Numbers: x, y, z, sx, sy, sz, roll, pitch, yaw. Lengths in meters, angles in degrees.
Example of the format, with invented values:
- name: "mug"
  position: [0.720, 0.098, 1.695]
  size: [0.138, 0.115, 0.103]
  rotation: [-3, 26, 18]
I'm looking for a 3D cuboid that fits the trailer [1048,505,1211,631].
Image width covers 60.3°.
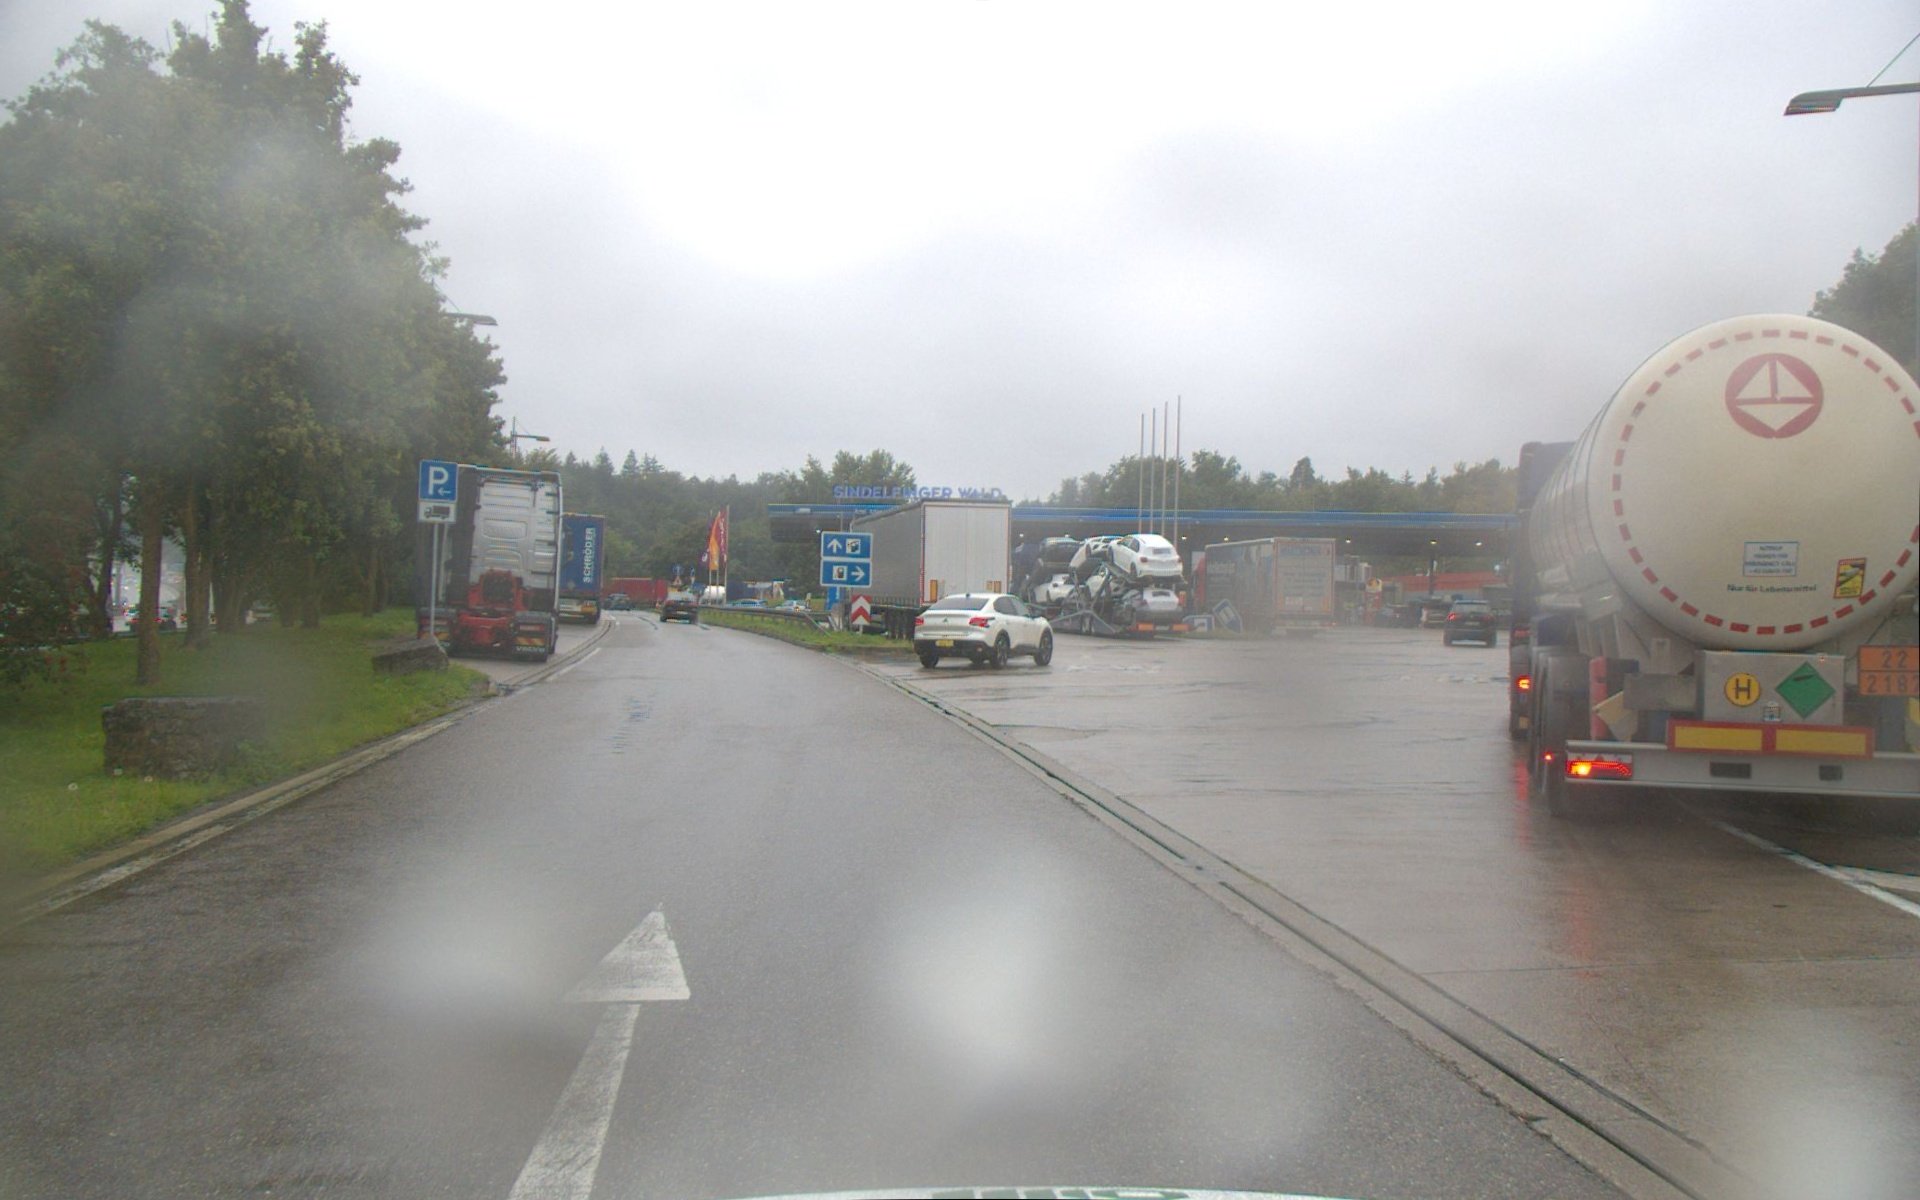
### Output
- name: "trailer"
  position: [6.231, -1.180, 63.426]
  size: [3.157, 4.262, 11.503]
  rotation: [2, 0, -10]

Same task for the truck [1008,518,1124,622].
- name: "truck"
  position: [4.562, -1.305, 73.224]
  size: [3.175, 4.261, 8.425]
  rotation: [2, 0, -10]

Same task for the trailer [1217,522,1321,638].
- name: "trailer"
  position: [13.193, -0.784, 71.415]
  size: [1.954, 4.639, 9.801]
  rotation: [1, 0, -4]

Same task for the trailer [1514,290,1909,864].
- name: "trailer"
  position: [6.047, -0.125, 14.674]
  size: [1.939, 3.281, 10.325]
  rotation: [1, 0, 18]

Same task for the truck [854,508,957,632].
- name: "truck"
  position: [-1.956, -0.995, 56.597]
  size: [2.329, 3.942, 6.991]
  rotation: [0, 0, -12]

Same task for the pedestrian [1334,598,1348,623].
- name: "pedestrian"
  position: [25.434, 0.703, 110.439]
  size: [0.704, 1.548, 0.742]
  rotation: [3, -2, 22]

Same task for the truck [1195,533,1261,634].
- name: "truck"
  position: [12.709, -0.744, 78.702]
  size: [1.949, 4.629, 4.791]
  rotation: [1, 0, -4]

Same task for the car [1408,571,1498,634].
- name: "car"
  position: [18.169, 0.122, 61.114]
  size: [1.954, 2.049, 3.998]
  rotation: [4, -2, -2]

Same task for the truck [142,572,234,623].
- name: "truck"
  position: [-52.864, -0.196, 113.389]
  size: [5.154, 3.054, 1.994]
  rotation: [5, 0, -12]

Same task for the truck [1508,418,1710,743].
- name: "truck"
  position: [8.034, -0.225, 20.870]
  size: [2.010, 3.593, 4.748]
  rotation: [1, 0, 18]

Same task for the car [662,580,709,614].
- name: "car"
  position: [-13.088, -0.128, 79.043]
  size: [1.842, 1.487, 3.996]
  rotation: [2, 0, -5]

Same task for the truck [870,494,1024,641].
- name: "truck"
  position: [-0.659, -0.926, 50.814]
  size: [2.329, 3.942, 12.418]
  rotation: [0, 0, -12]

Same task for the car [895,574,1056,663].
- name: "car"
  position: [0.388, 0.366, 34.427]
  size: [1.953, 1.708, 3.999]
  rotation: [1, 0, 23]

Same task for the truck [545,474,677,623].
- name: "truck"
  position: [-14.214, -1.956, 66.937]
  size: [4.709, 5.398, 11.032]
  rotation: [1, 0, -13]

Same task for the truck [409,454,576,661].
- name: "truck"
  position: [-9.831, -0.842, 35.393]
  size: [2.864, 3.972, 6.299]
  rotation: [1, 0, -11]
